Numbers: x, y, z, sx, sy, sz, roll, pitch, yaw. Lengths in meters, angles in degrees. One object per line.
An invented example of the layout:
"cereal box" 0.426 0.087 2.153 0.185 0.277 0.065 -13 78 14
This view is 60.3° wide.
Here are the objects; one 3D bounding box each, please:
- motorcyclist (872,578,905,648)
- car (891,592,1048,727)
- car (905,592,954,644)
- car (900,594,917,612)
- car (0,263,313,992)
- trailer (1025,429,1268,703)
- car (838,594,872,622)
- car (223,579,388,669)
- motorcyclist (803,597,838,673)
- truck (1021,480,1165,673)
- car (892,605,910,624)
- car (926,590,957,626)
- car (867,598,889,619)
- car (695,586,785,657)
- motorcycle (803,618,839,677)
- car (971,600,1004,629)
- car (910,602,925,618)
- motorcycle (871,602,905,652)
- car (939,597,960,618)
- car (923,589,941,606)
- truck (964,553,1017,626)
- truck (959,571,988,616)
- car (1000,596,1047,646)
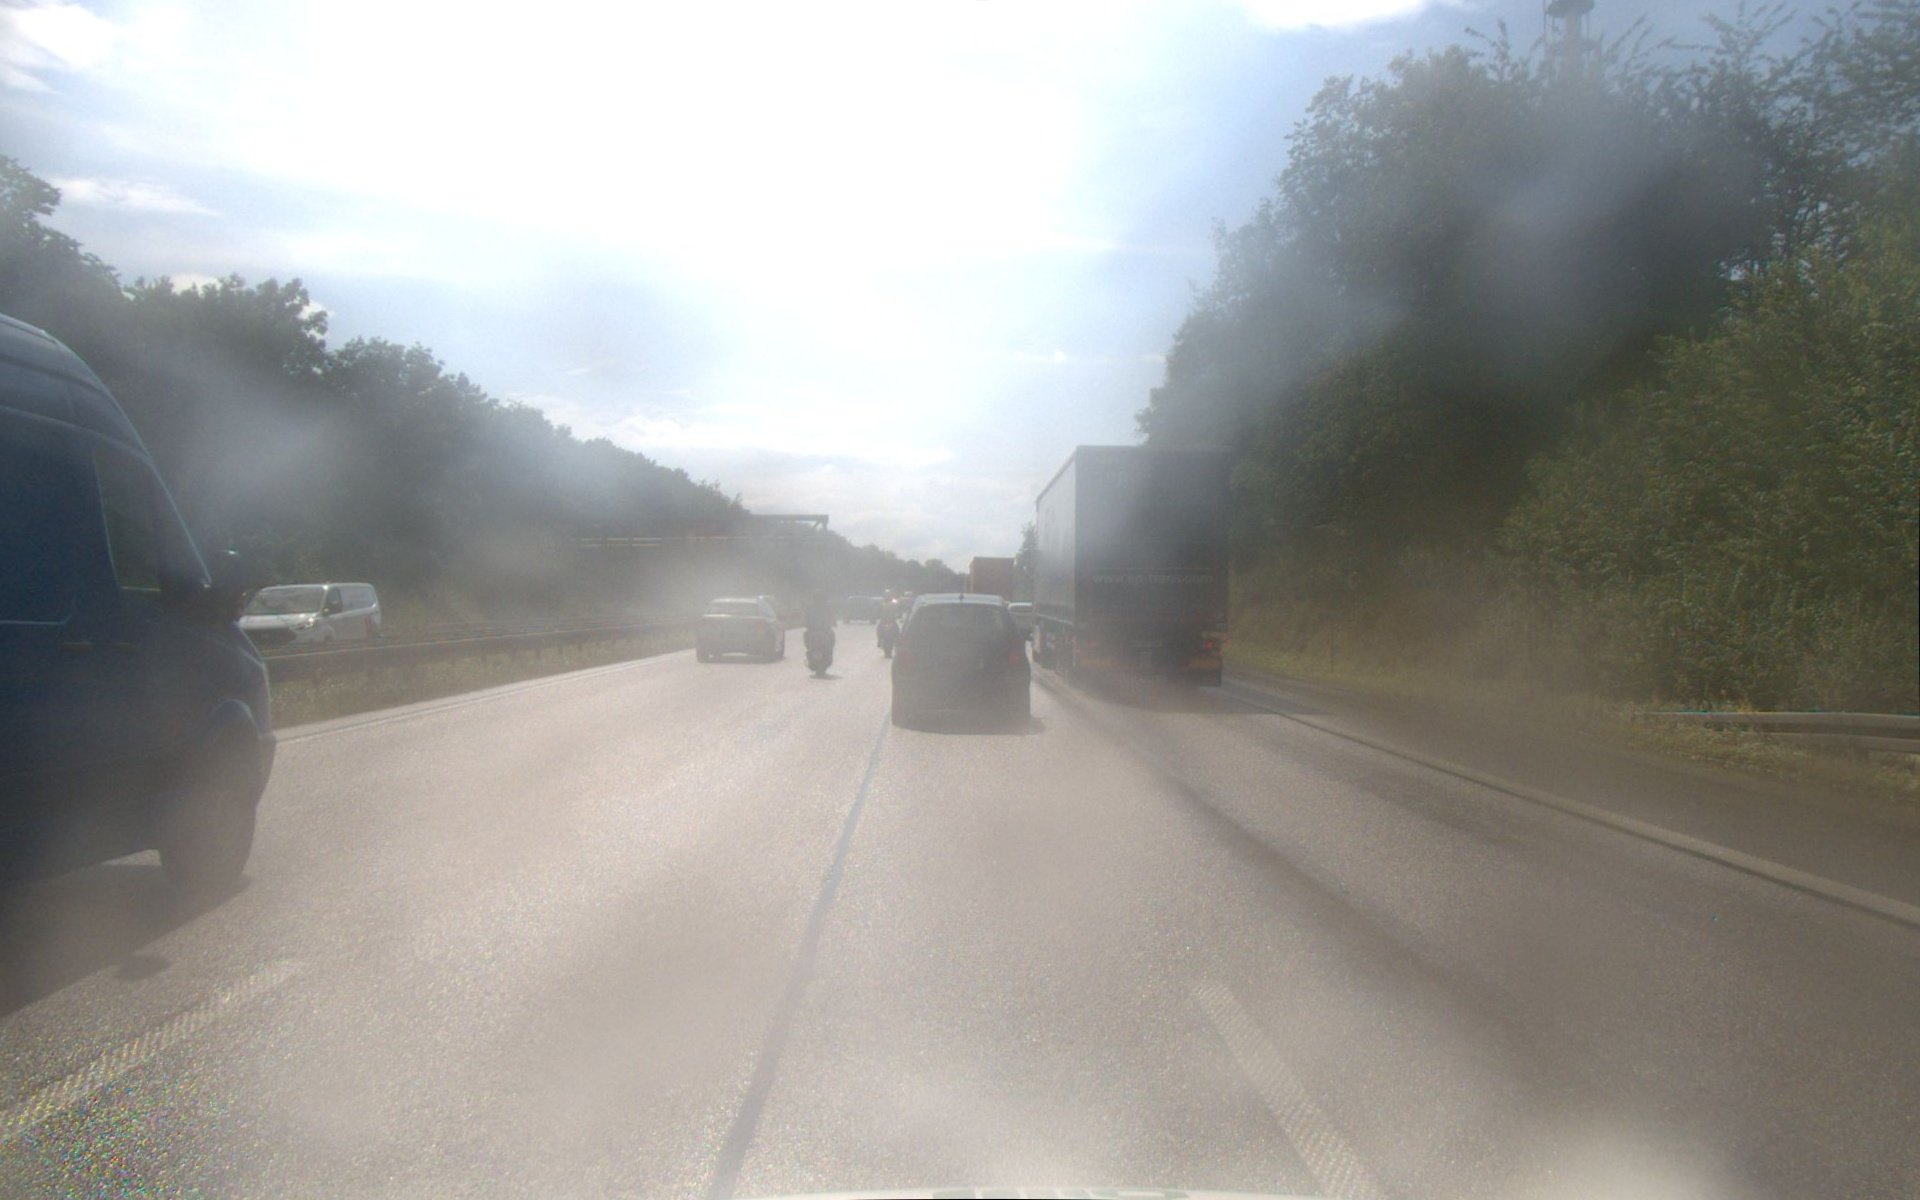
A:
"motorcyclist" -1.888 0.345 43.678 0.804 1.791 1.390 1 -1 -1
"car" 0.066 0.714 21.943 1.876 1.592 4.312 0 0 -1
"car" -1.285 0.735 68.076 1.953 2.049 3.998 1 0 -2
"car" -6.269 0.373 201.348 1.953 2.049 3.999 1 0 -1
"car" -4.538 0.098 6.294 1.975 2.695 5.775 0 0 -1
"trailer" 3.286 -0.539 33.747 3.026 4.388 14.100 0 0 -1
"car" -6.336 0.498 100.230 1.854 1.656 4.194 0 0 -1
"car" -14.891 0.507 37.930 1.953 1.866 4.618 2 0 -1
"motorcyclist" -2.734 0.679 32.578 0.657 1.467 1.019 1 -1 -4
"truck" 3.172 -0.538 40.967 2.990 4.400 5.885 1 0 -1
"car" -6.516 1.560 183.230 1.953 2.049 3.999 1 0 -1
"car" -1.056 0.420 92.766 1.641 1.970 3.772 0 0 -1
"car" -6.469 0.688 131.277 1.641 1.625 3.435 0 0 -1
"car" -5.323 0.506 40.451 1.723 1.622 4.329 0 0 -1
"motorcycle" -2.738 0.919 32.612 0.662 1.106 1.980 1 0 -4
"car" 1.467 0.778 89.753 1.641 1.516 3.435 0 0 -1
"car" -5.661 1.379 221.917 1.953 2.049 3.999 1 0 -1
"motorcycle" -1.889 0.701 43.720 0.803 1.285 2.117 1 0 -1
"car" -1.062 0.723 165.795 1.953 2.049 3.999 1 0 -1
"car" -2.507 -0.227 149.446 1.599 1.516 3.435 0 0 -1
"truck" 1.933 -0.638 107.919 3.137 4.481 9.430 1 0 -1
"truck" 1.419 -0.623 183.832 2.823 4.769 12.655 1 0 -1
"car" 2.681 0.876 70.717 1.811 2.049 4.086 1 0 -1
